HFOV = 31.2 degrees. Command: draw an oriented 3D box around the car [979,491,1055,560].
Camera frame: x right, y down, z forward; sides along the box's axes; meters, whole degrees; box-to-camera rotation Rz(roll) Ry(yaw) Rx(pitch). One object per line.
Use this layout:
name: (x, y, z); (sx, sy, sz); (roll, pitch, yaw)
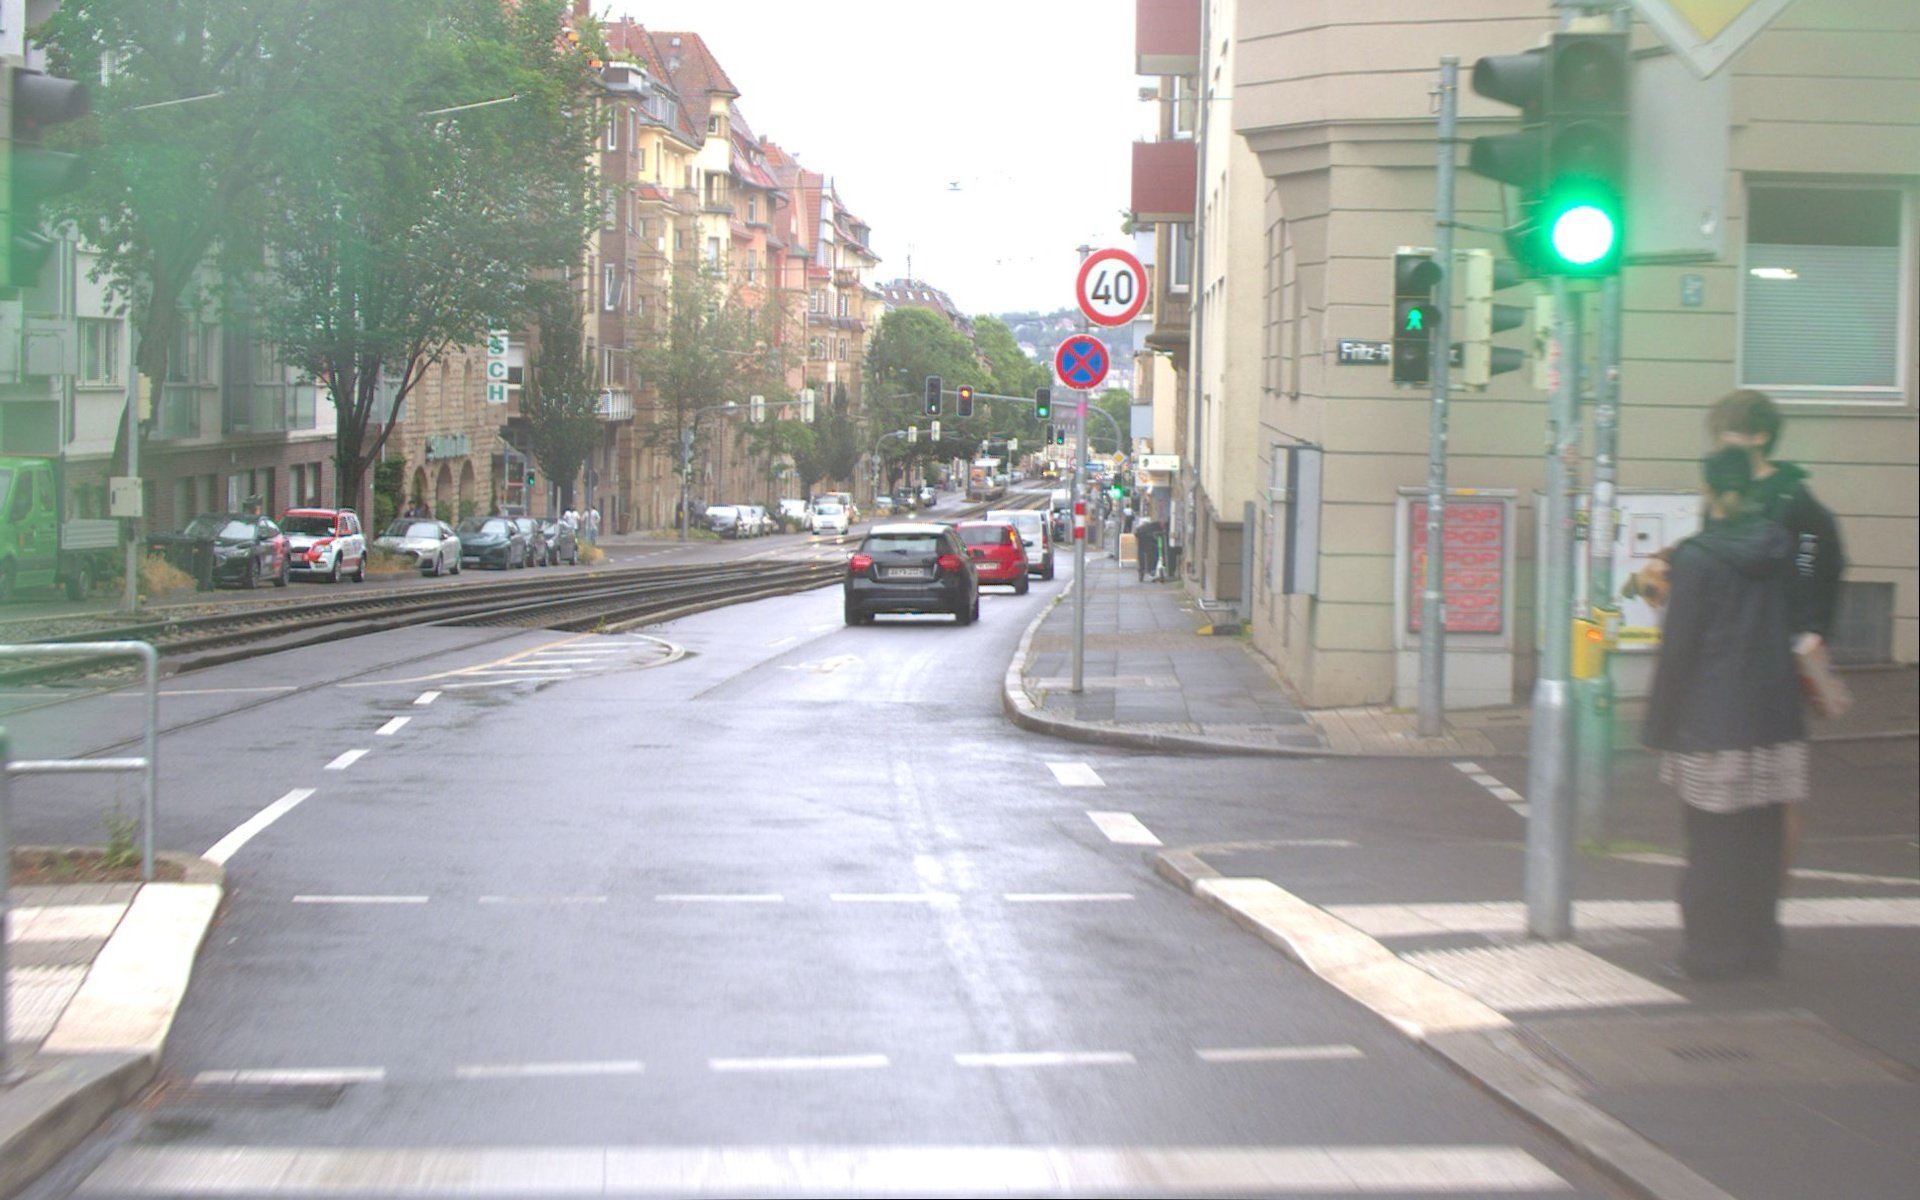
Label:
car: (1.520, -2.006, 92.638); (1.948, 1.786, 4.144); (1, 1, 1)

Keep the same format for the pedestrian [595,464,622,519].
pedestrian: (-12.918, -3.986, 126.336); (0.871, 2.007, 0.704); (-1, 0, 1)

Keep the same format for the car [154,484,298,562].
car: (-14.429, -1.510, 67.748); (1.773, 1.448, 4.255); (-1, 1, 2)

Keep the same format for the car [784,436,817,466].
car: (-10.822, -10.112, 234.029); (1.993, 2.006, 4.000); (0, 2, 1)

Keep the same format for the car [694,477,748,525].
car: (-10.491, -4.331, 151.193); (1.993, 2.007, 4.346); (-1, 1, 1)

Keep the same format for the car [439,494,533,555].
car: (-13.085, -2.094, 95.080); (1.773, 1.614, 4.255); (-1, 1, 3)

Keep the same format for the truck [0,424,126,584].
truck: (-15.121, -1.484, 53.842); (2.051, 2.385, 6.320); (0, 1, 5)

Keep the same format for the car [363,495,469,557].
car: (-13.638, -1.858, 86.412); (1.773, 1.483, 4.255); (-1, 1, 3)

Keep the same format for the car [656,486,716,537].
car: (-11.234, -3.629, 141.198); (1.993, 2.007, 4.346); (-1, 1, 1)

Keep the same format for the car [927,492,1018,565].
car: (0.268, -1.507, 72.938); (1.852, 1.468, 4.000); (1, 1, 1)

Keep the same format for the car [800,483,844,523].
car: (-6.960, -4.915, 173.614); (1.993, 2.006, 4.347); (0, 2, 1)

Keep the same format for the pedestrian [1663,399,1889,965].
pedestrian: (2.678, 0.257, 11.333); (0.554, 1.807, 0.651); (1, 1, 0)

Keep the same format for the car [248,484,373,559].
car: (-14.128, -1.723, 74.986); (1.773, 1.541, 4.255); (-1, 1, 2)

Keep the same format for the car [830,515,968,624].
car: (-0.837, -0.471, 49.399); (1.852, 1.468, 4.000); (0, 2, 1)

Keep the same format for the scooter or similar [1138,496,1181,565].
scooter or similar: (4.702, -1.645, 81.111); (0.918, 1.599, 0.863); (0, 2, -2)

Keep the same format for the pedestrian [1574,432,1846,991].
pedestrian: (2.327, 0.335, 10.721); (0.695, 1.689, 0.555); (1, 1, 0)

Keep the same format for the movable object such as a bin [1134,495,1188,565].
movable object such as a bin: (4.818, -1.694, 82.615); (1.167, 1.649, 1.309); (-1, 2, -1)
